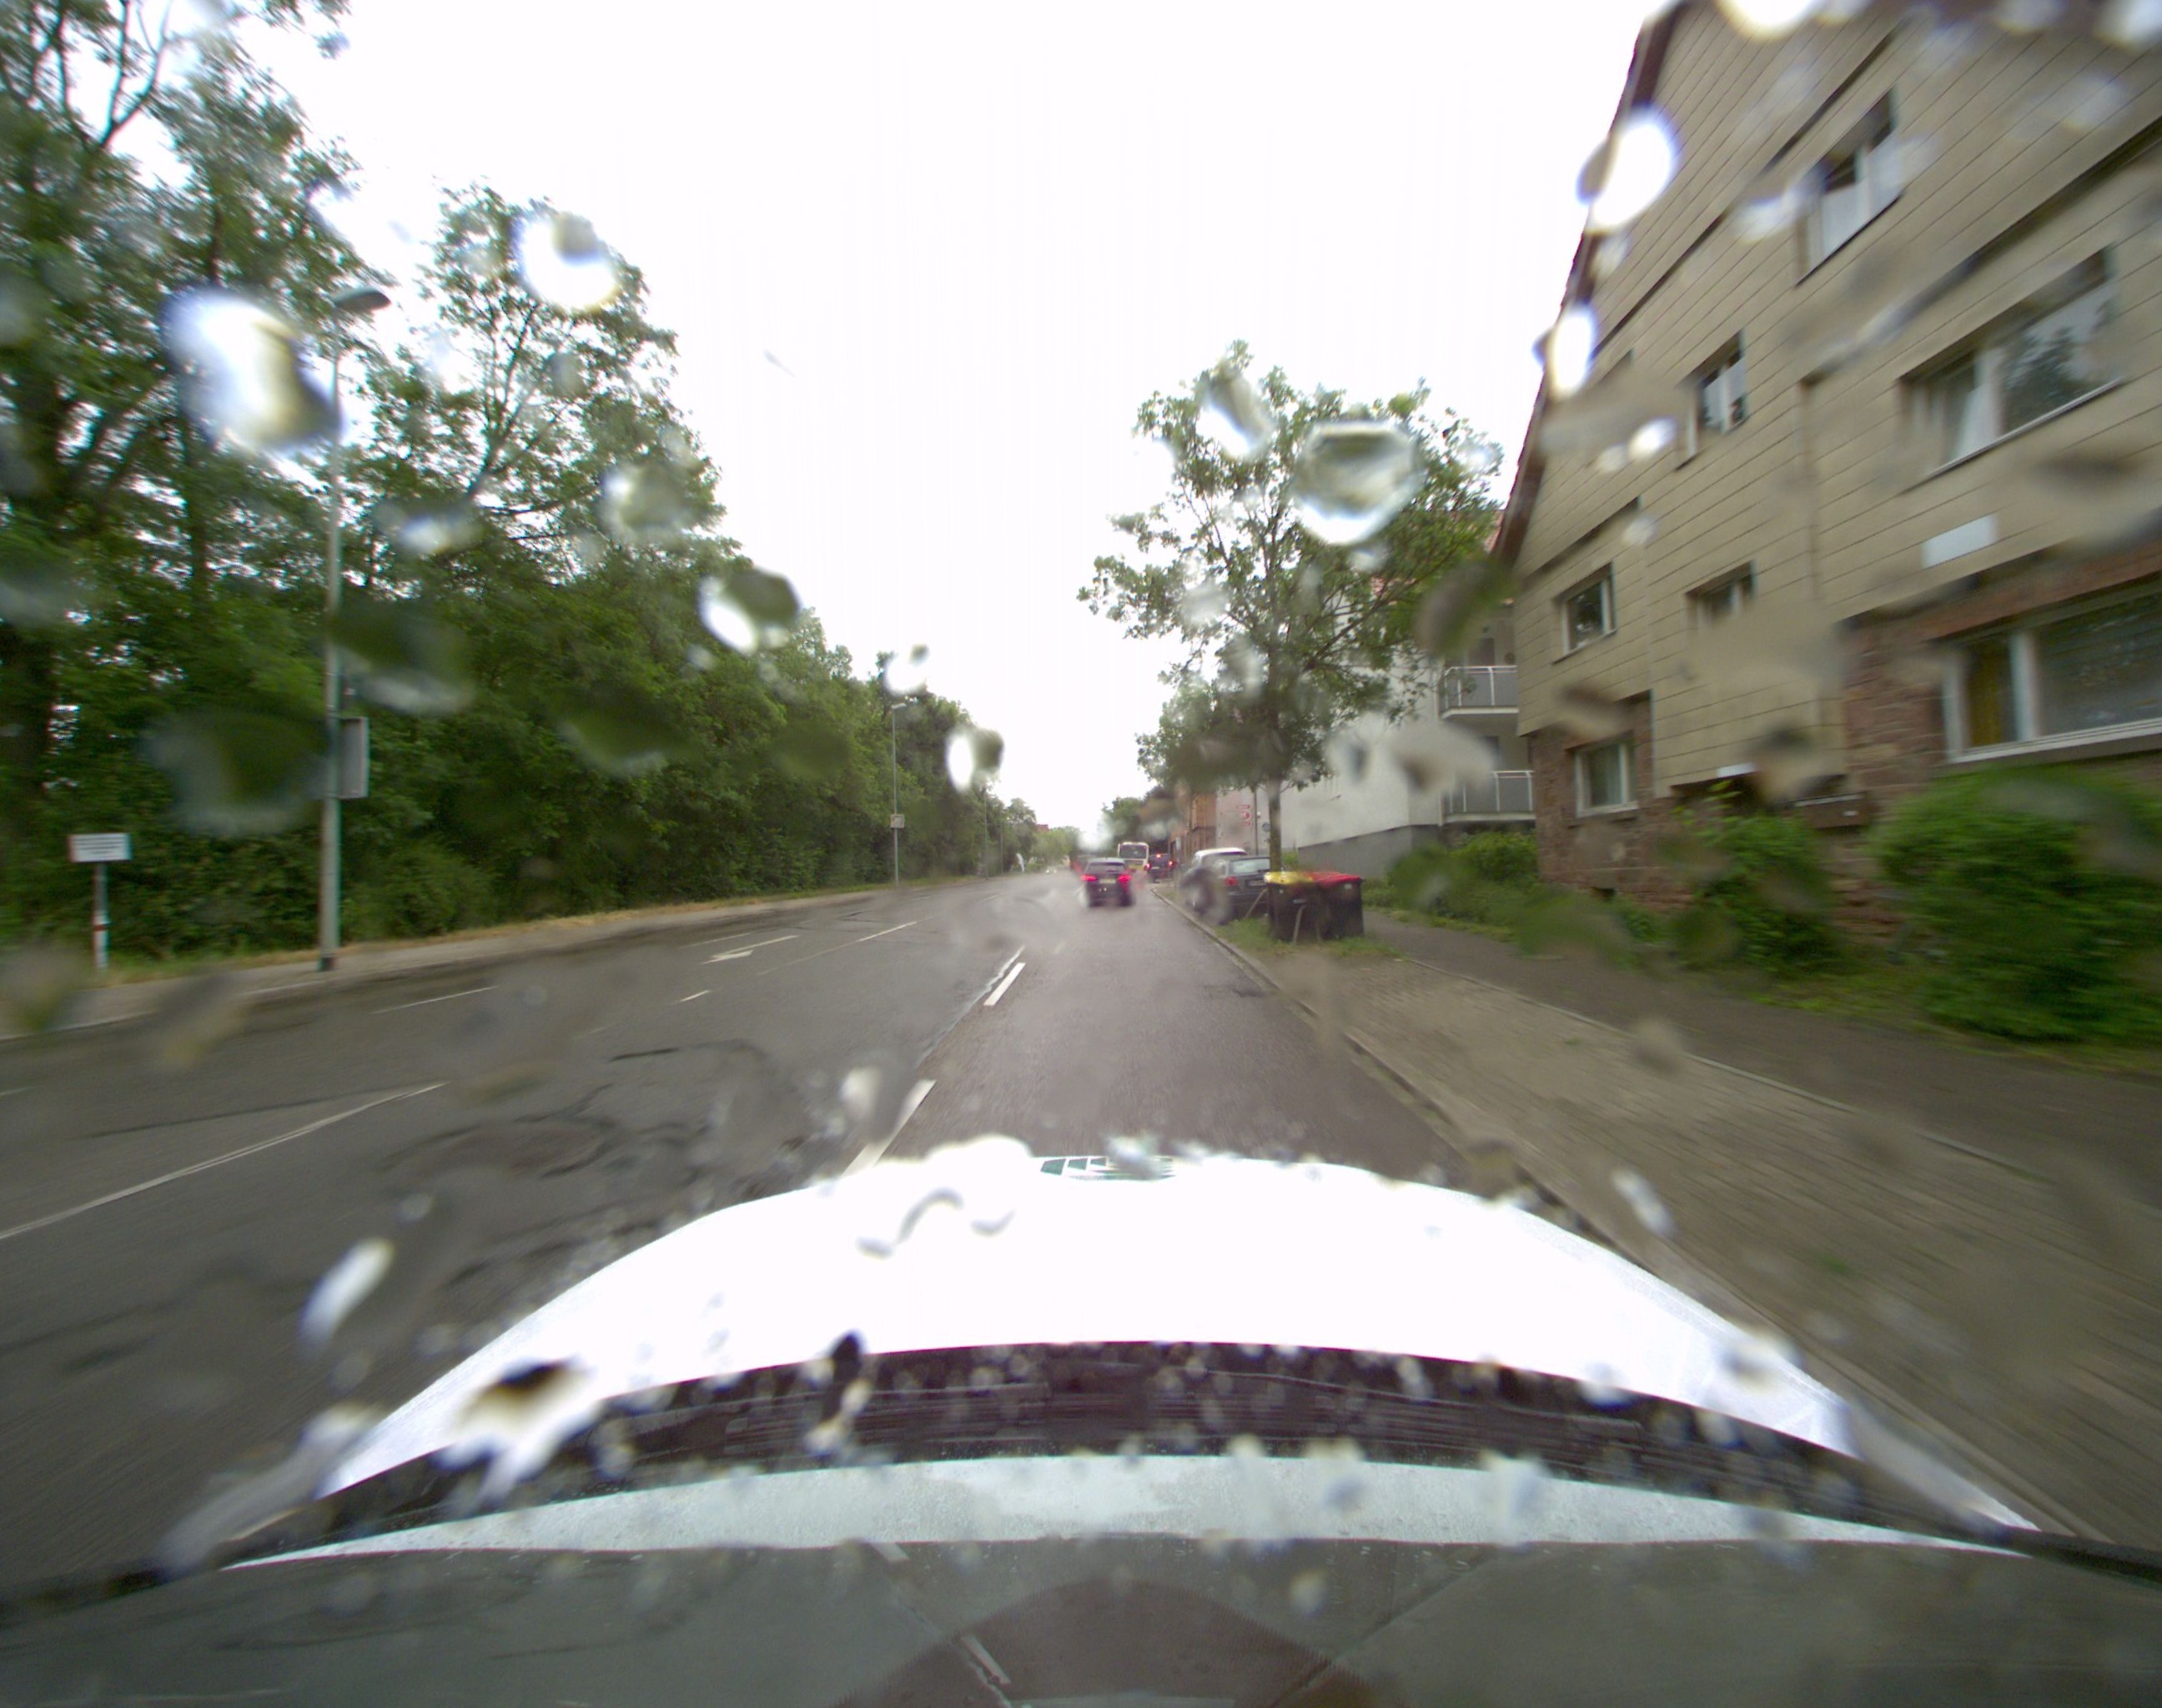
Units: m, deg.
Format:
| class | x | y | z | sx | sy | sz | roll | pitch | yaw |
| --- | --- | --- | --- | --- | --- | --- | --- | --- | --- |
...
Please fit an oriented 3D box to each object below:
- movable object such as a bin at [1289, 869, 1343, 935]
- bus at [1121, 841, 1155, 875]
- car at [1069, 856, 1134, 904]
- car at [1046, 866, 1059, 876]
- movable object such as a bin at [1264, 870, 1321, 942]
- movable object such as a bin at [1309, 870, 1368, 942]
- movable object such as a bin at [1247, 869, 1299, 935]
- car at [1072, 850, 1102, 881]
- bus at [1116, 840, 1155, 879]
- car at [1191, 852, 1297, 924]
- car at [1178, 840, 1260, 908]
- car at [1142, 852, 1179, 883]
| class | x | y | z | sx | sy | sz | roll | pitch | yaw |
| --- | --- | --- | --- | --- | --- | --- | --- | --- | --- |
| movable object such as a bin | 4.027 | 0.805 | 13.991 | 0.617 | 1.050 | 0.822 | -4 | 0 | -1 |
| bus | 5.257 | 0.362 | 76.116 | 2.613 | 2.847 | 9.797 | -3 | 0 | 1 |
| car | 0.596 | 0.801 | 26.981 | 1.988 | 1.453 | 3.998 | 1 | 0 | -1 |
| car | -4.766 | 2.824 | 136.525 | 1.763 | 1.533 | 4.001 | -3 | 0 | 1 |
| movable object such as a bin | 3.389 | 0.819 | 13.097 | 0.617 | 1.050 | 0.822 | -4 | 0 | -1 |
| movable object such as a bin | 4.117 | 0.818 | 13.067 | 0.617 | 1.050 | 0.822 | -4 | 0 | -1 |
| movable object such as a bin | 3.291 | 0.807 | 13.998 | 0.617 | 1.050 | 0.822 | -4 | 0 | -1 |
| car | 0.442 | 0.777 | 56.851 | 1.986 | 2.013 | 4.002 | -1 | 0 | 2 |
| bus | 4.598 | 0.404 | 67.133 | 2.609 | 2.847 | 8.306 | -3 | 0 | 7 |
| car | 3.650 | 0.723 | 18.892 | 1.636 | 1.448 | 3.998 | -2 | 0 | 0 |
| car | 3.990 | 0.527 | 24.199 | 1.817 | 1.772 | 4.544 | -2 | 0 | 3 |
| car | 5.456 | 0.918 | 55.420 | 1.915 | 1.892 | 4.774 | -5 | -2 | 10 |
